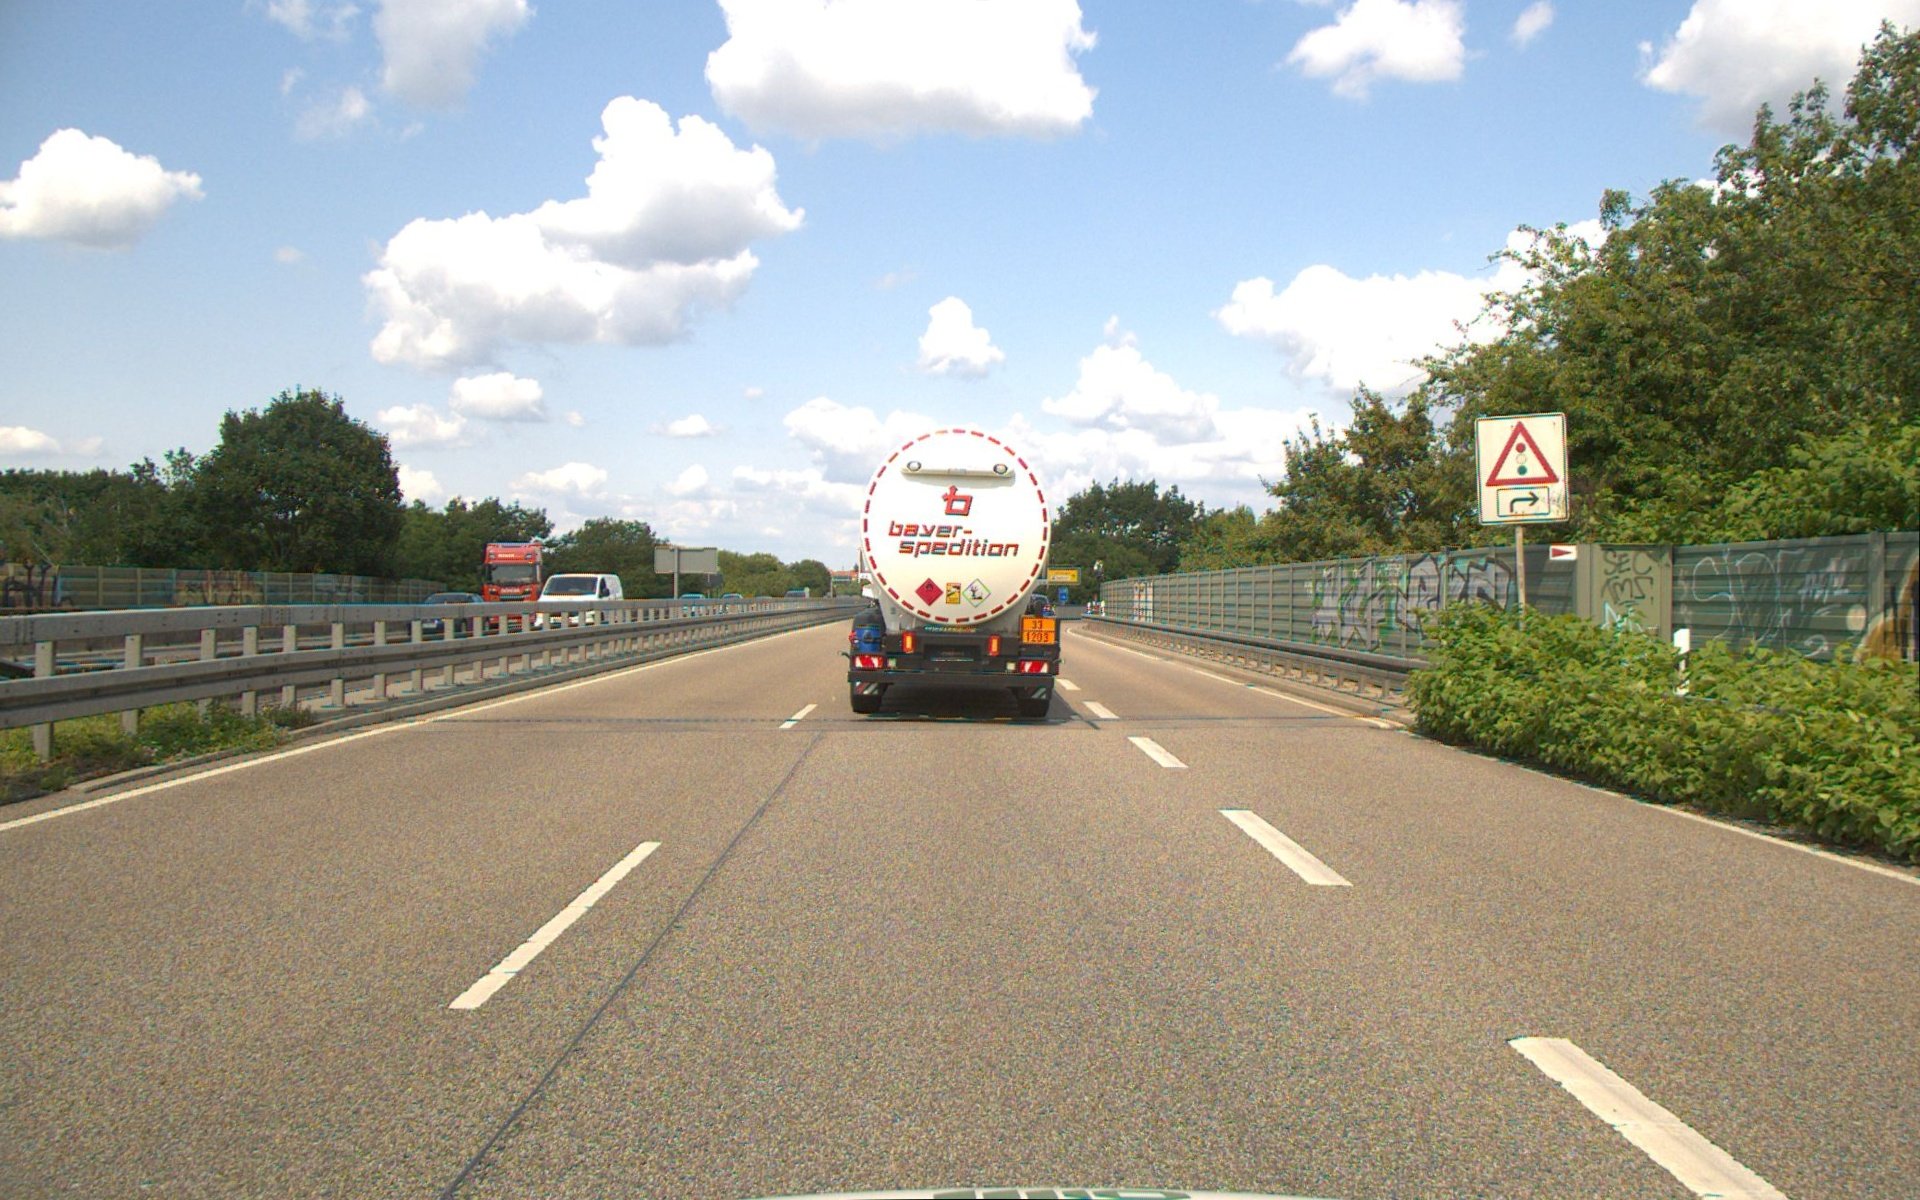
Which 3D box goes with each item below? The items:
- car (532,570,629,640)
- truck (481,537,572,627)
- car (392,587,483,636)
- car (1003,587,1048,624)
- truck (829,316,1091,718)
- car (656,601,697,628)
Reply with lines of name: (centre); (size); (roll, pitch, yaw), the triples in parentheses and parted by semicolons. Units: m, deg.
car: (-11.763, 0.162, 51.673); (2.038, 2.024, 5.226); (2, 0, -3)
truck: (-19.562, -0.786, 74.941); (2.595, 3.848, 6.229); (2, 0, -3)
car: (-16.485, 0.352, 52.415); (1.655, 1.456, 4.400); (2, 0, -3)
car: (3.204, 0.273, 81.471); (1.953, 1.736, 3.999); (2, 0, -1)
truck: (-0.056, -0.922, 22.598); (2.836, 4.445, 8.027); (2, 0, -1)
car: (-16.617, 0.846, 97.103); (1.746, 1.535, 3.959); (2, 0, -1)
